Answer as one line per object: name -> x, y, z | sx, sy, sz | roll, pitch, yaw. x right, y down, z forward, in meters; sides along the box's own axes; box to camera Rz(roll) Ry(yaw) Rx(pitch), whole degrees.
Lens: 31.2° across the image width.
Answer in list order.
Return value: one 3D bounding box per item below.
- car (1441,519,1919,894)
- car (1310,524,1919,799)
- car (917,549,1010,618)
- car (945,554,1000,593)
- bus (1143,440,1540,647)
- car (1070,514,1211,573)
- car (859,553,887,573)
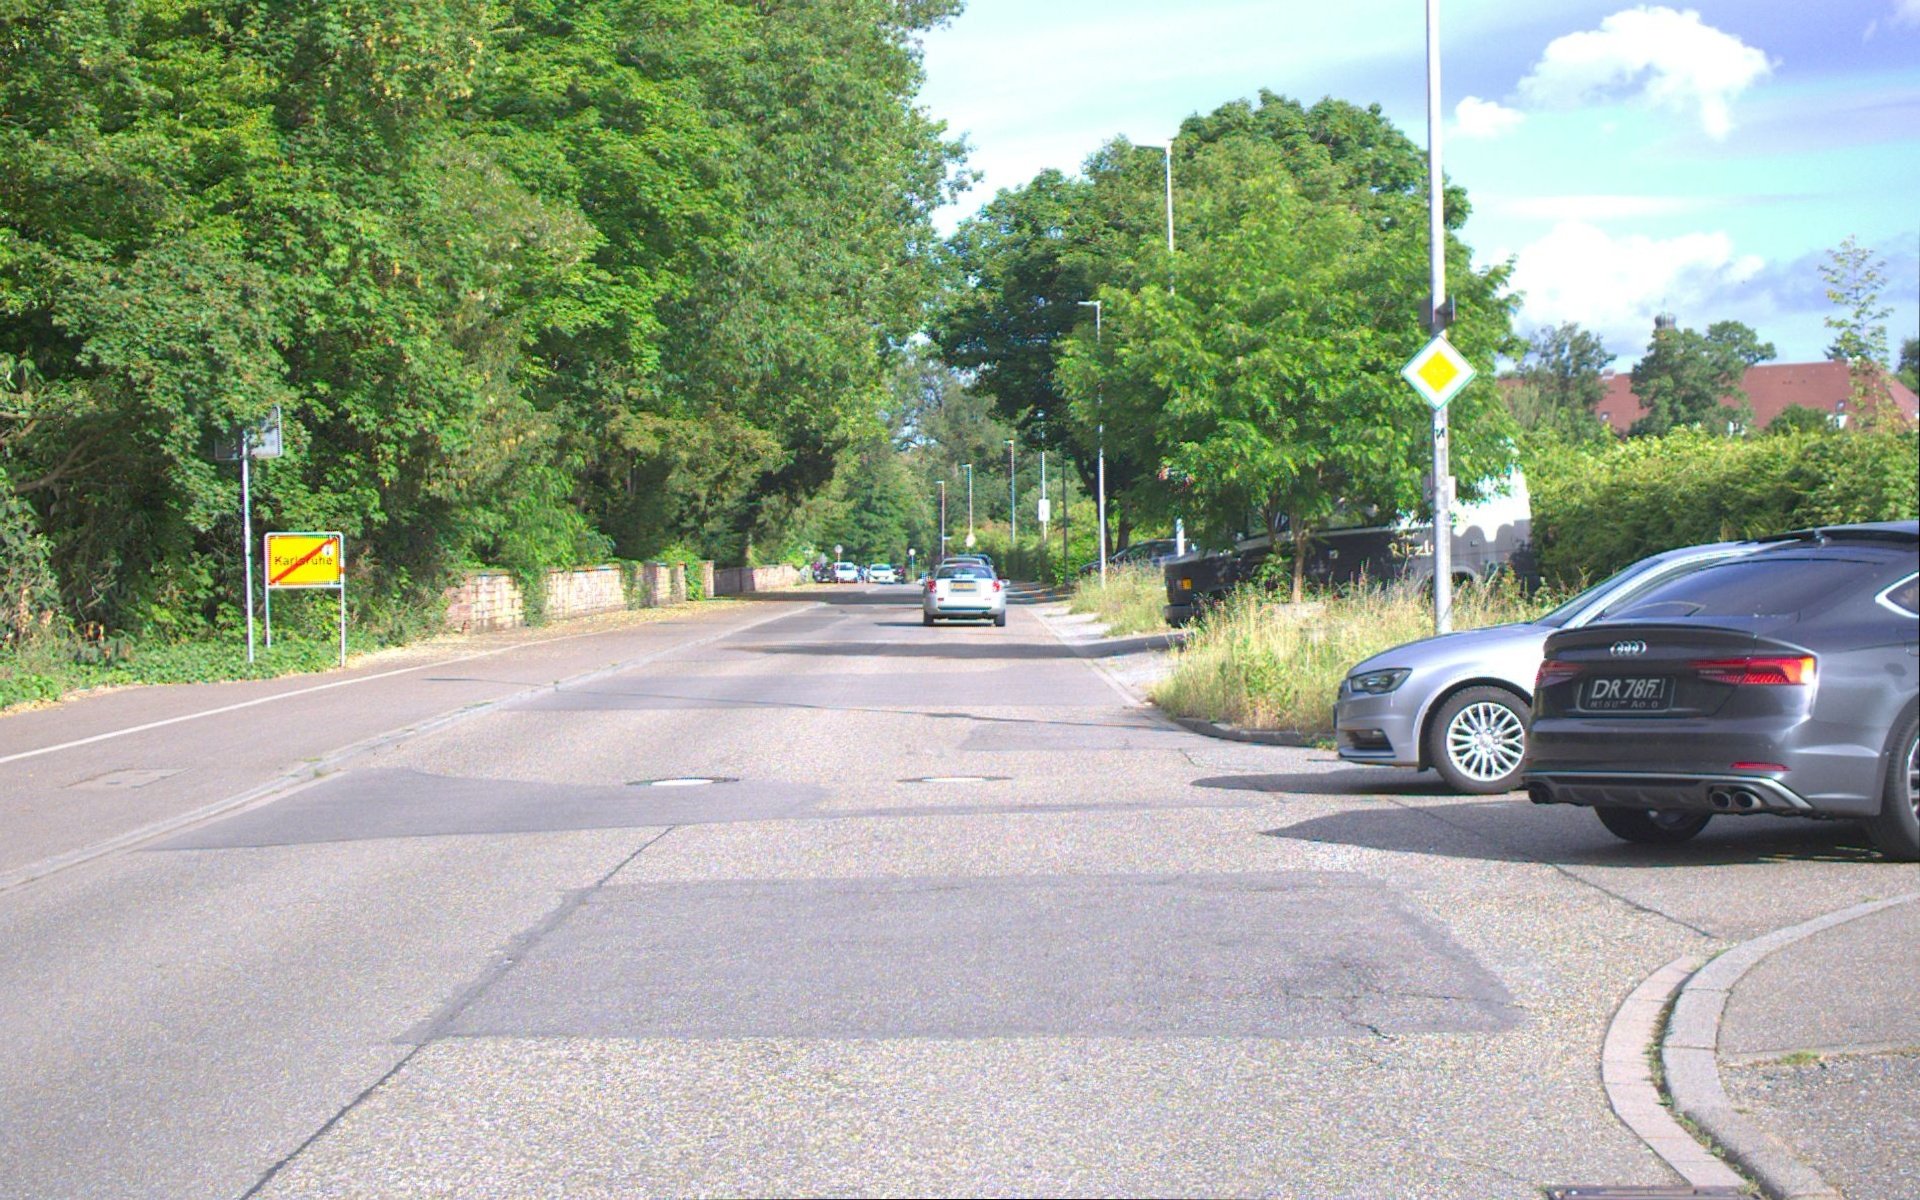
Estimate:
car -> 4.473, 0.355, 15.539 | 4.323, 1.429, 1.972 | -3, 1, -35
car -> 4.274, 0.325, 20.071 | 4.363, 1.438, 1.932 | -2, 0, 7
car -> 0.046, -0.358, 71.965 | 1.886, 1.367, 4.055 | -1, 1, -1
car -> 0.440, -0.955, 124.948 | 1.886, 1.367, 4.055 | -1, 1, -1
bus -> 5.467, -0.824, 49.731 | 5.364, 2.737, 2.069 | -2, 1, -2
car -> 5.832, -1.829, 111.469 | 4.403, 1.641, 2.000 | -4, 1, 1
car -> -6.012, -2.551, 237.414 | 1.886, 1.367, 4.055 | -1, 1, -2
